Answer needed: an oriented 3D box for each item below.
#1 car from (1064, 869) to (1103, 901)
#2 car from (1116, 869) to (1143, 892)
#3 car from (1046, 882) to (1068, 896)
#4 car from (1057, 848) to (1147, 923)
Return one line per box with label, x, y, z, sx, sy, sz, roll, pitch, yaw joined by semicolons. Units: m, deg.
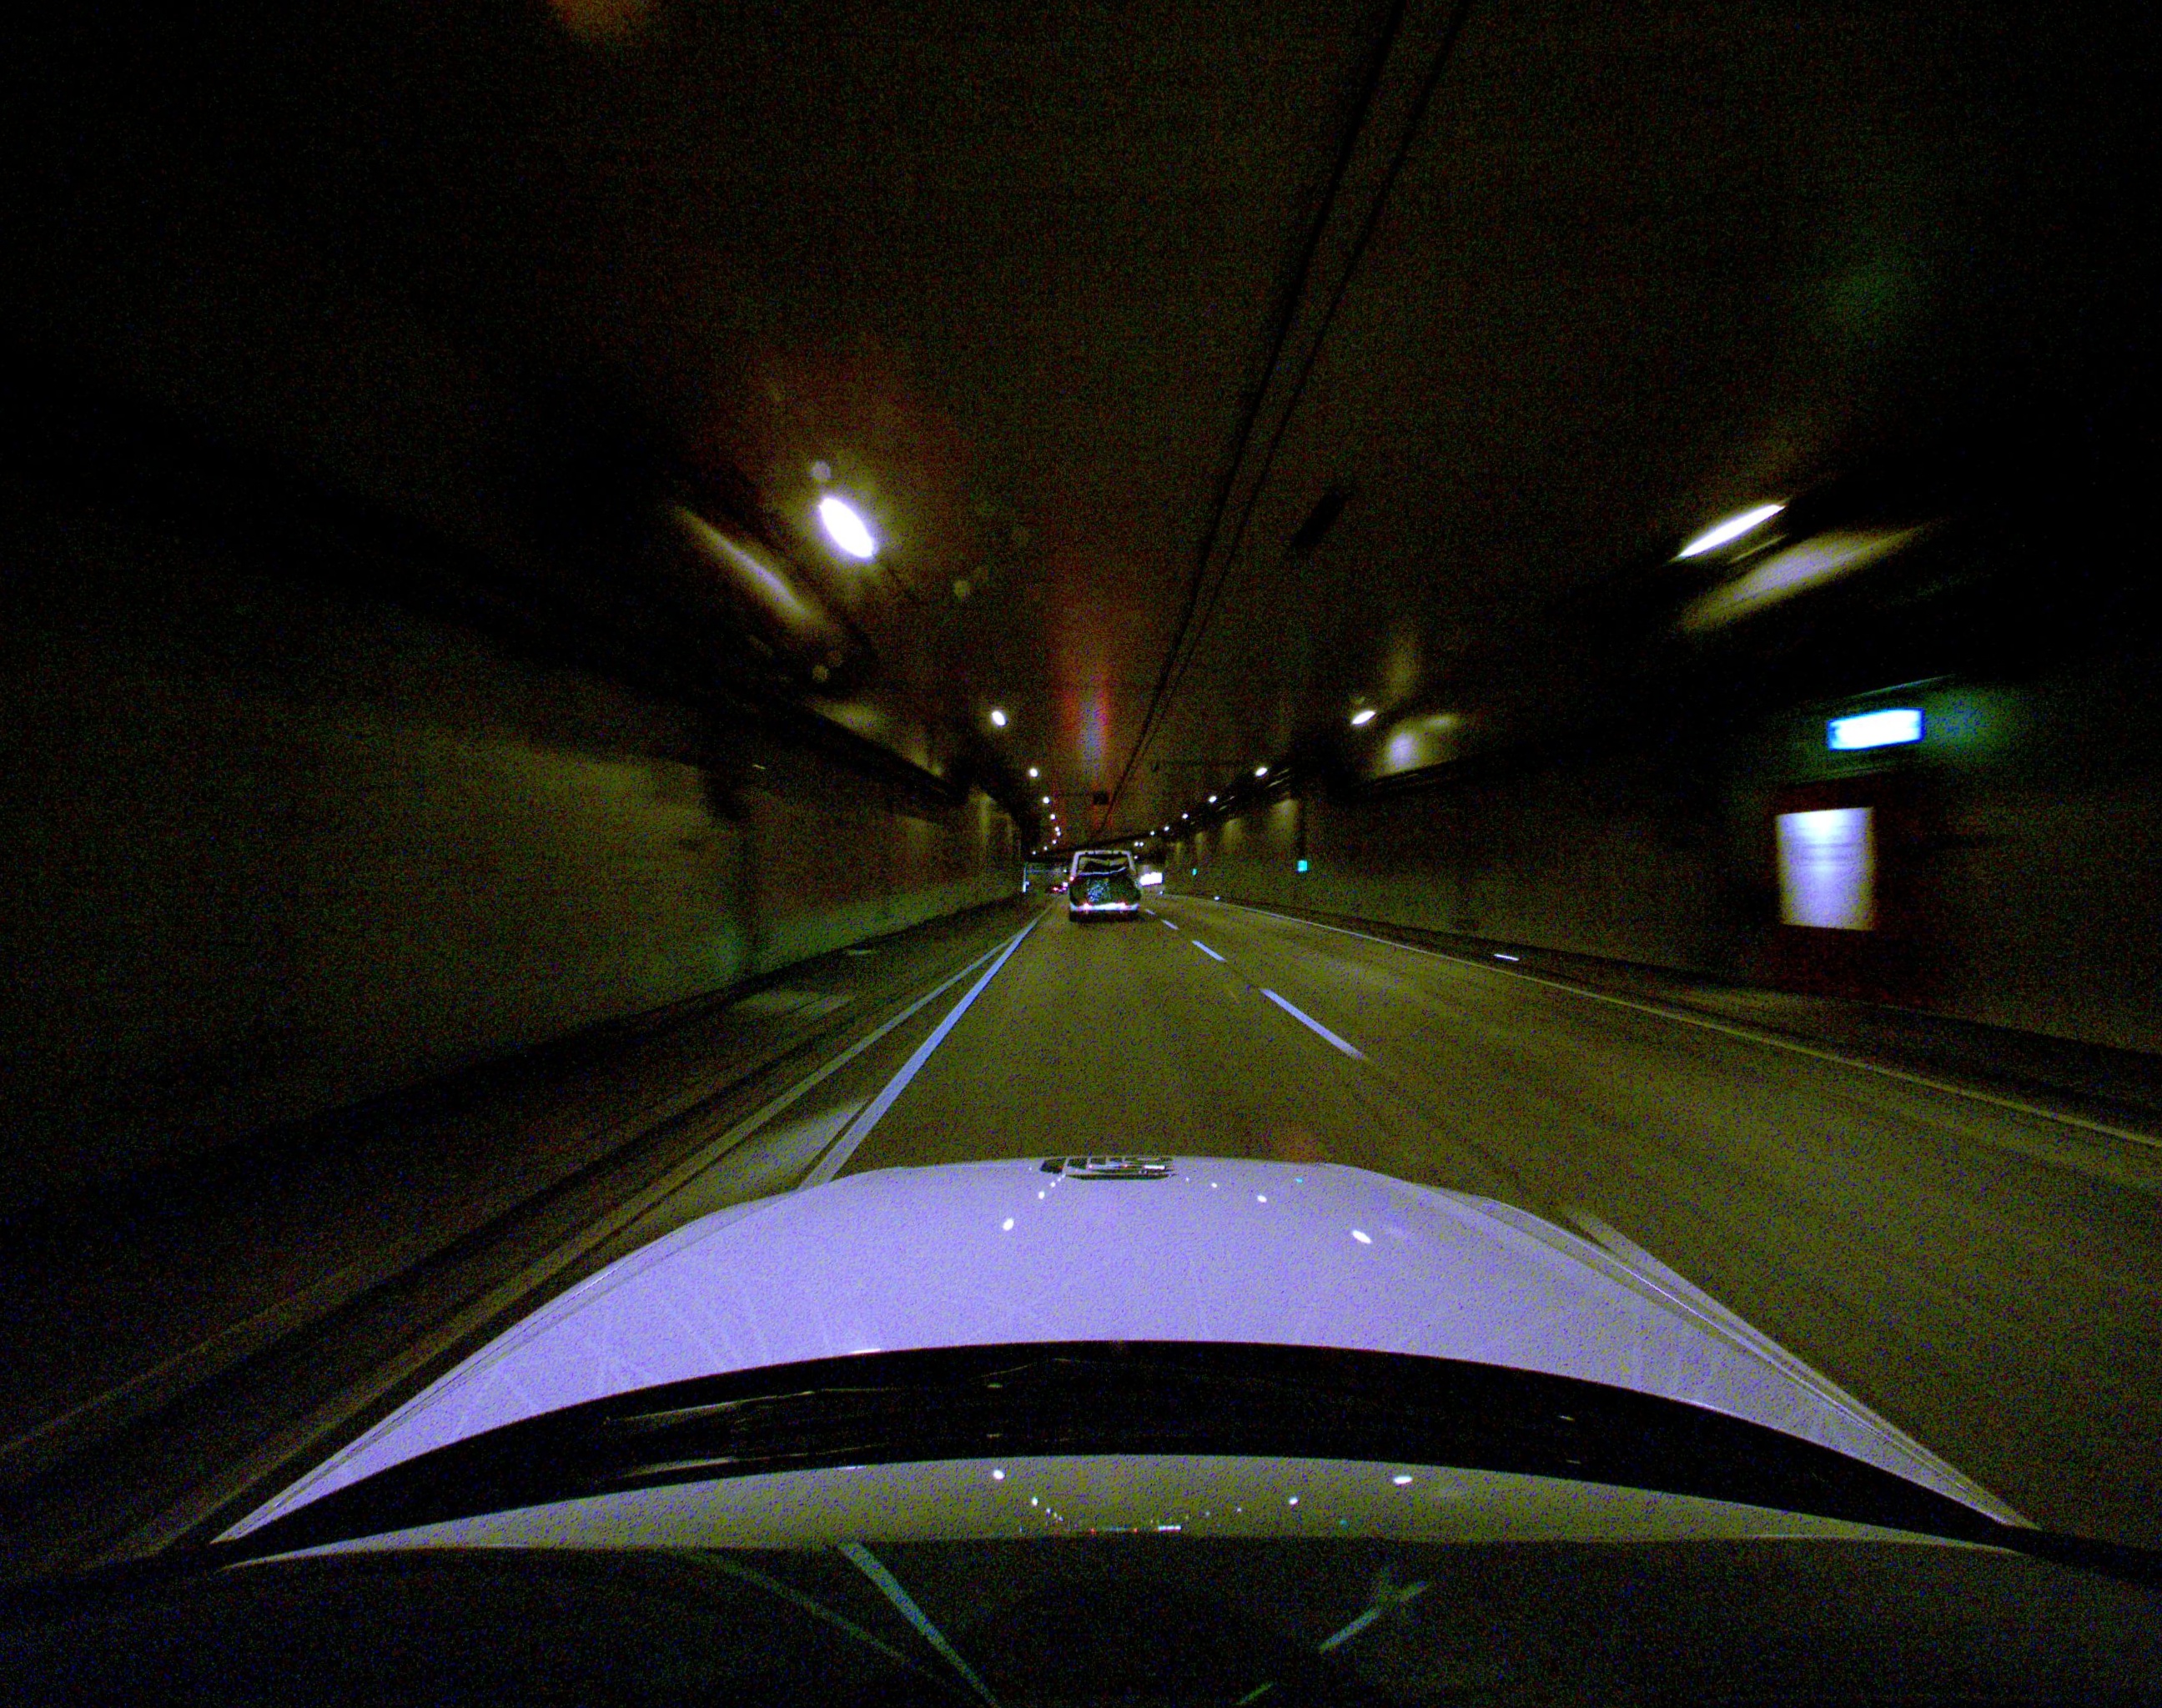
car;0.078;1.414;37.433;1.599;1.395;3.272;0;-2;-4
car;3.651;1.992;61.502;1.599;1.630;3.350;-1;-2;-4
car;-3.115;4.415;103.595;1.827;1.630;3.820;3;-3;-18
car;0.447;0.816;22.750;1.990;1.847;5.293;0;-1;-4
